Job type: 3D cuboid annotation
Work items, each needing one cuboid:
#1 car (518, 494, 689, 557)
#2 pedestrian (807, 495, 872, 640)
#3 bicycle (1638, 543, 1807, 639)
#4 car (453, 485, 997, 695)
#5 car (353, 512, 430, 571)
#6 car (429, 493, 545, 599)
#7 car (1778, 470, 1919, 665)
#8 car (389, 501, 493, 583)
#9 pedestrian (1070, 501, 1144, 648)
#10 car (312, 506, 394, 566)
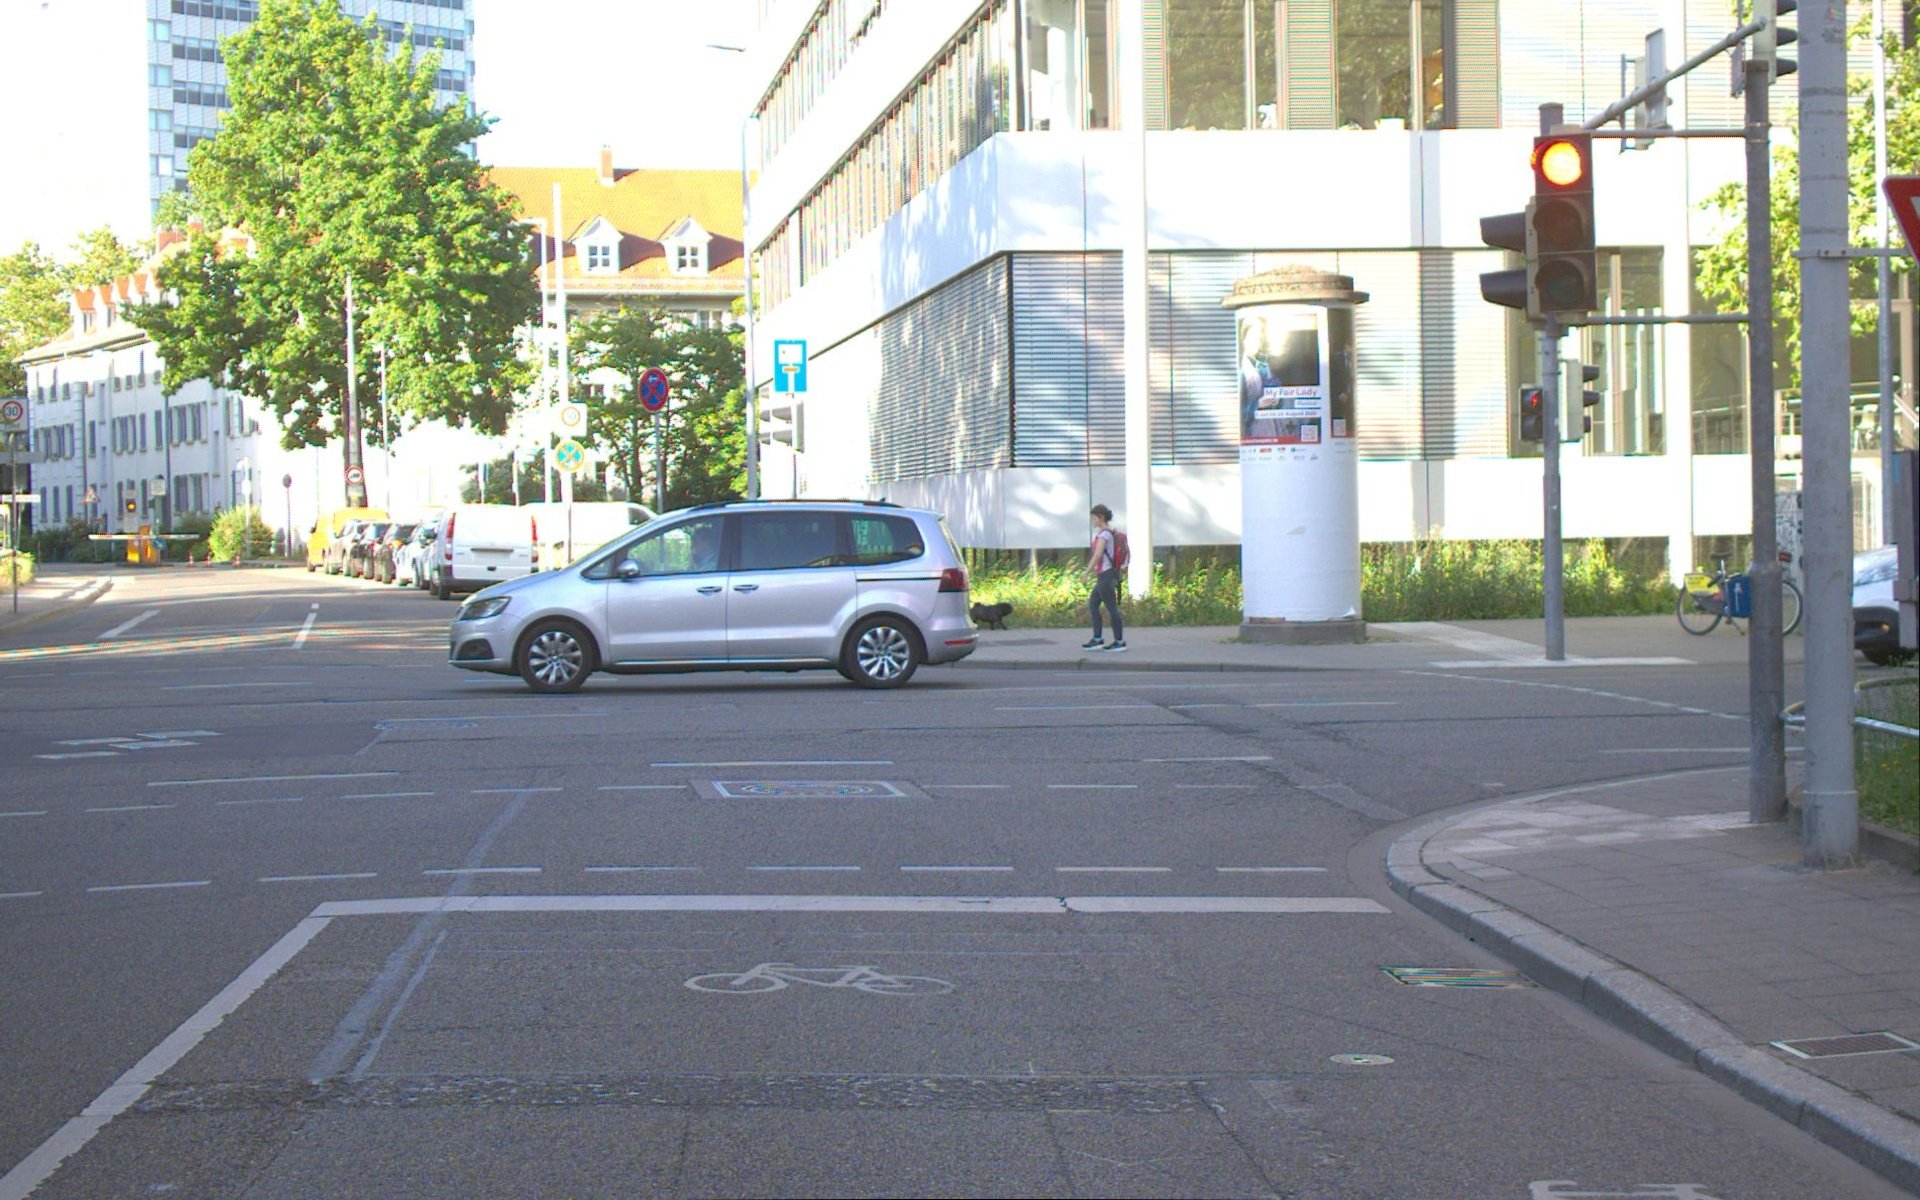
[{"bbox_3d":[-10.895,-2.251,105.047,4.880,1.865,2.001,0,1,-17],"label":"car"},{"bbox_3d":[-1.461,-0.404,41.816,0.652,1.730,0.812,-1,1,7],"label":"pedestrian"},{"bbox_3d":[8.551,-0.114,38.613,0.463,1.045,1.914,-2,2,-43],"label":"bicycle"},{"bbox_3d":[-2.168,-0.120,31.391,4.758,1.701,1.800,-2,2,-7],"label":"car"},{"bbox_3d":[-14.576,-1.515,87.980,1.703,1.459,4.239,-1,2,-12],"label":"car"},{"bbox_3d":[-9.230,-1.069,66.866,2.066,1.956,4.239,-1,2,-10],"label":"car"},{"bbox_3d":[10.366,-0.393,33.042,4.539,1.793,1.637,-2,2,-8],"label":"car"},{"bbox_3d":[-11.904,-1.340,78.695,1.946,1.789,4.239,-1,2,-14],"label":"car"},{"bbox_3d":[1.620,-0.284,37.816,0.712,1.594,0.617,-1,1,10],"label":"pedestrian"},{"bbox_3d":[-17.274,-1.833,97.759,2.100,1.652,4.477,-1,2,-12],"label":"car"}]
